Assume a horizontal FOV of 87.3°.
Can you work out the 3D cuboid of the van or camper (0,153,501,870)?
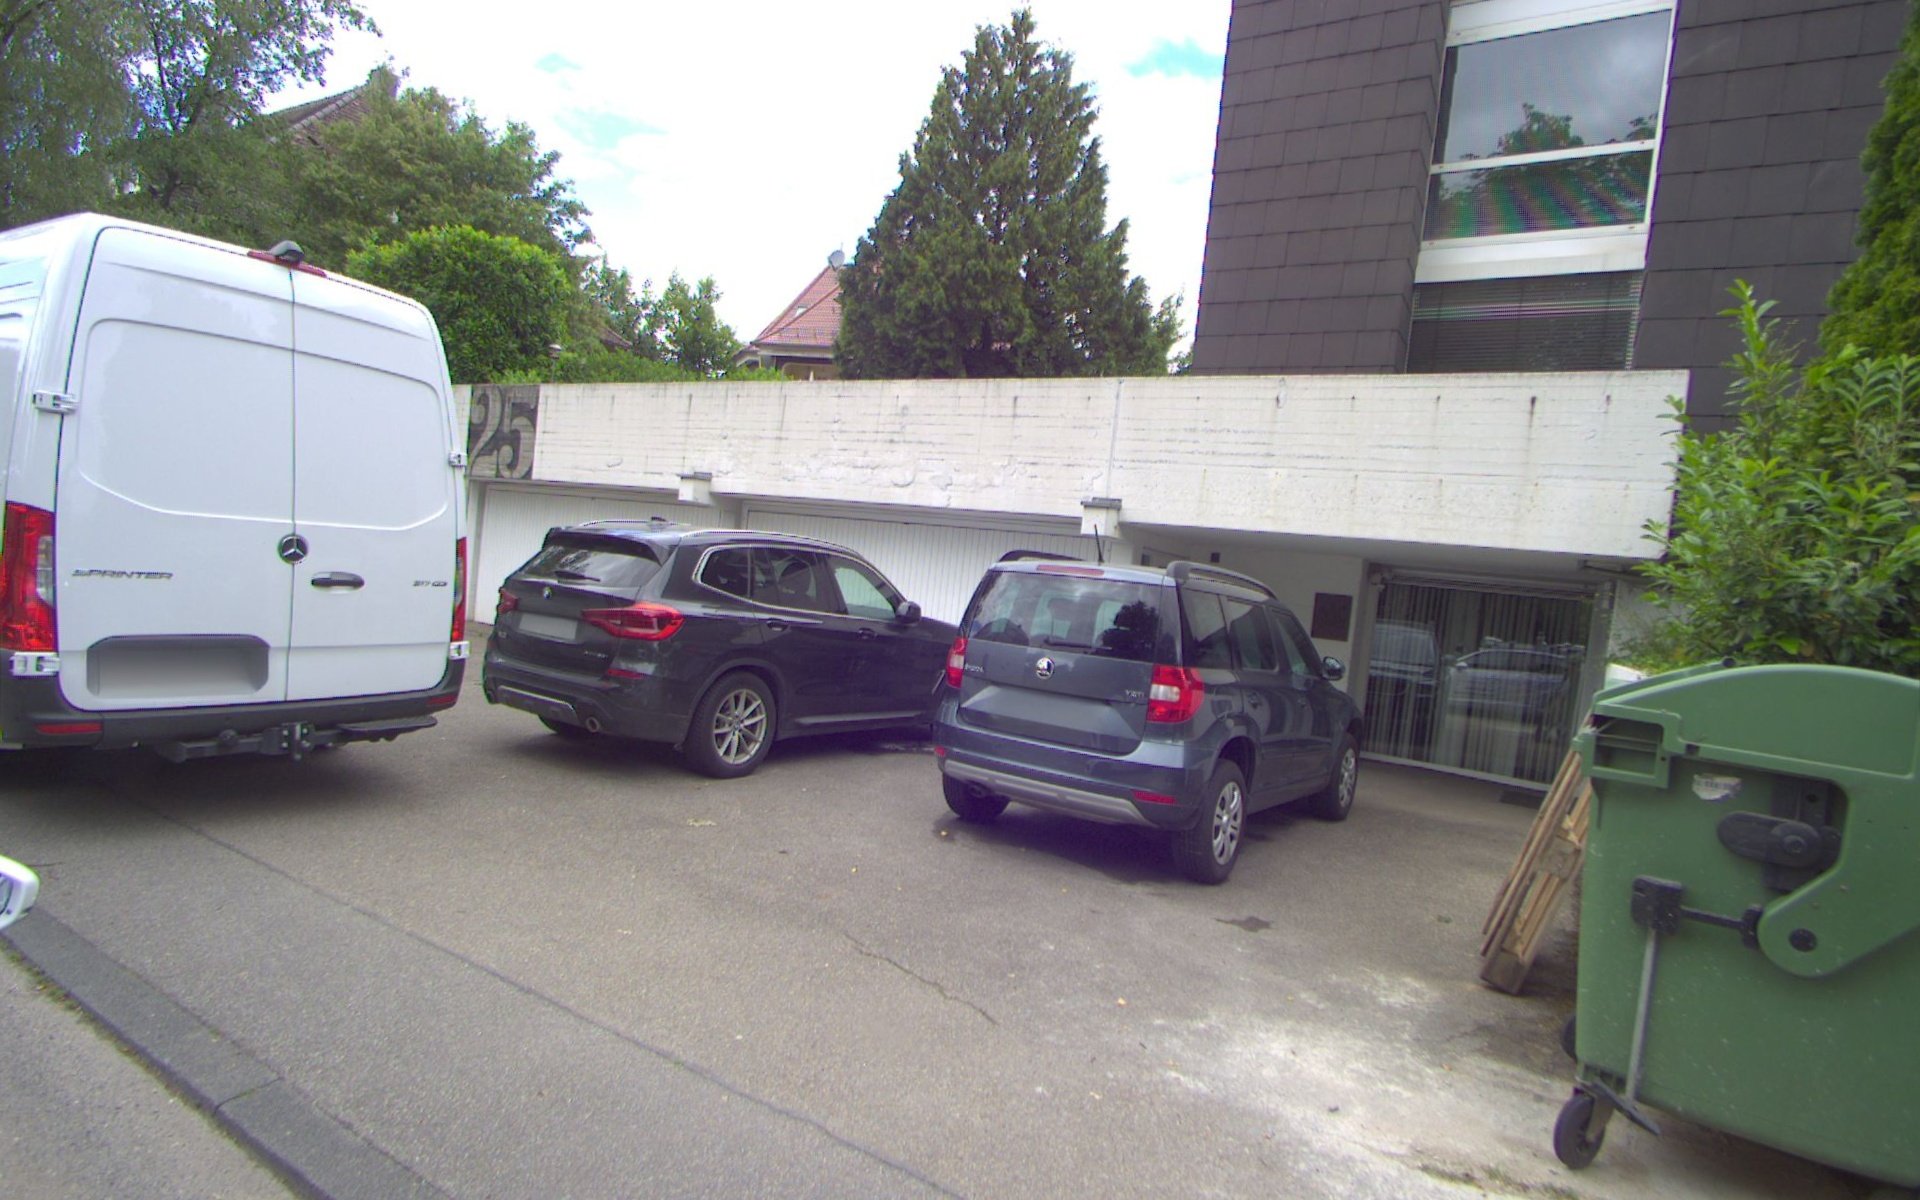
[{"bbox_3d":[-5.767,-0.585,6.280,6.436,2.662,1.990,6,4,32],"label":"van or camper"}]

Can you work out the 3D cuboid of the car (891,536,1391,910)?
[{"bbox_3d":[1.490,0.638,6.798,1.717,1.673,3.899,6,1,35],"label":"car"}]

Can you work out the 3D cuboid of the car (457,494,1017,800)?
[{"bbox_3d":[-1.400,0.317,8.037,1.668,1.696,4.383,6,1,32],"label":"car"}]

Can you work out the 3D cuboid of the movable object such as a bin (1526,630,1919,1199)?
[{"bbox_3d":[2.415,0.897,2.978,1.098,1.469,1.405,6,1,32],"label":"movable object such as a bin"}]
